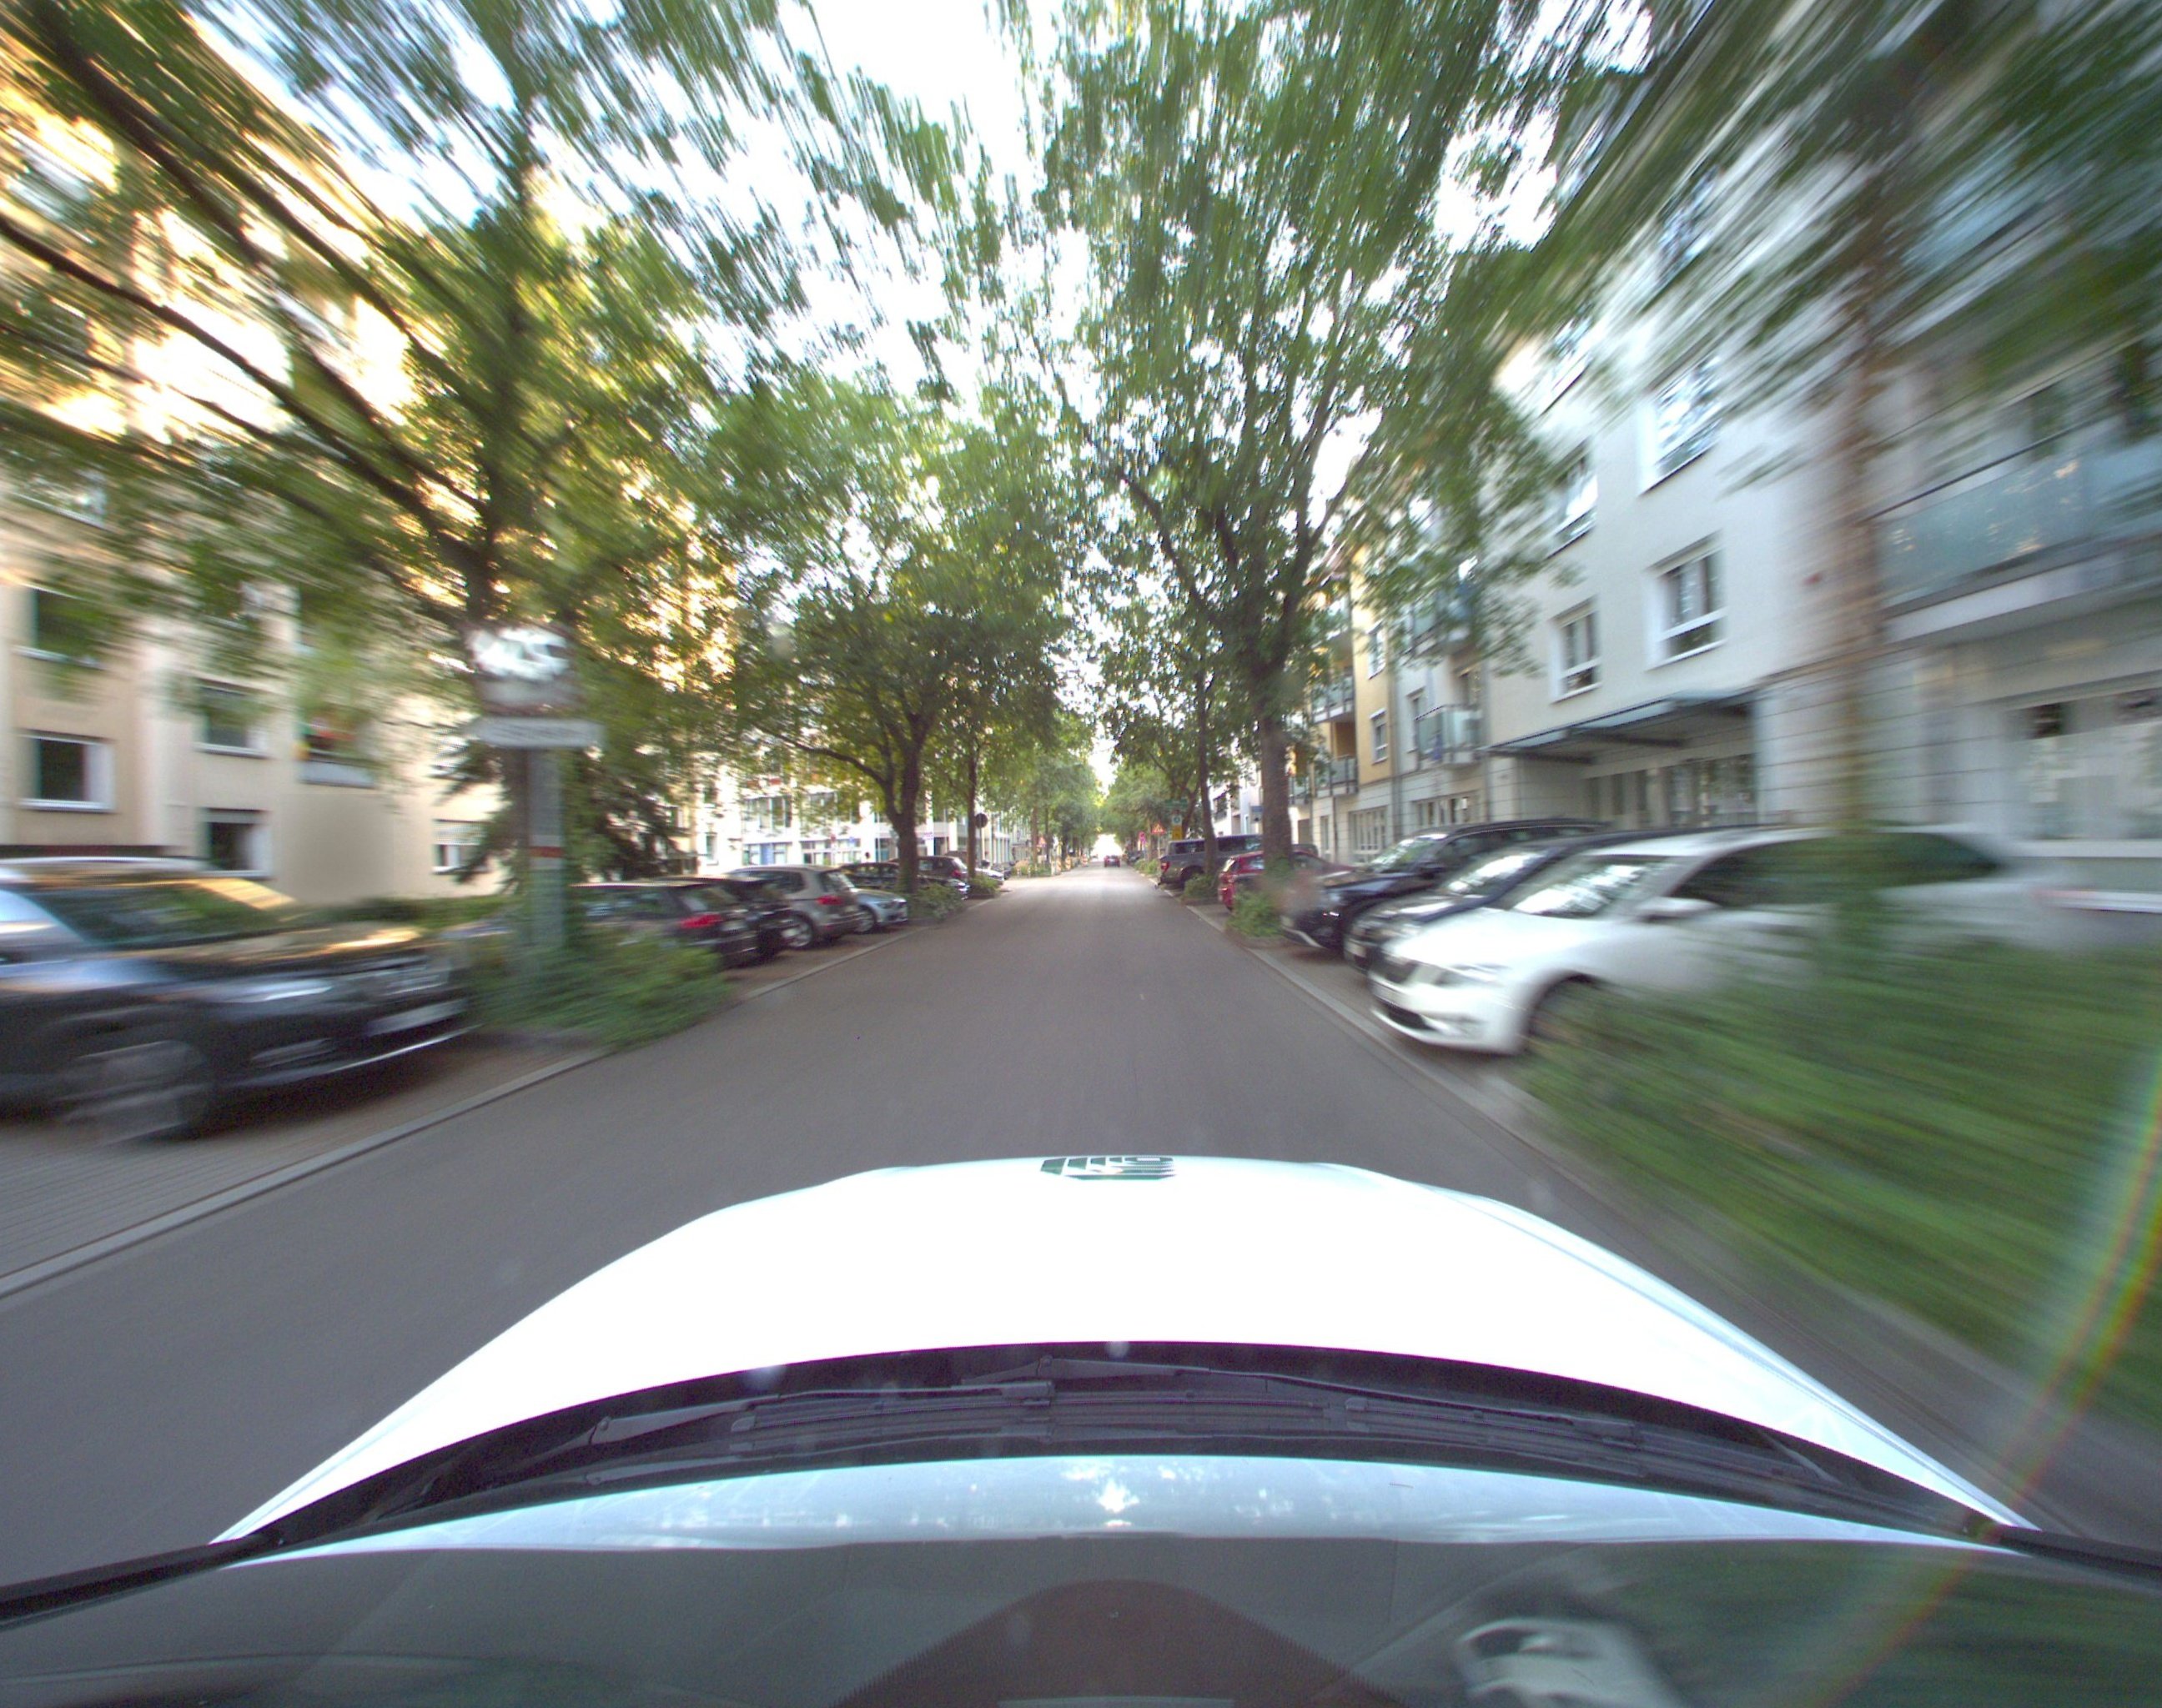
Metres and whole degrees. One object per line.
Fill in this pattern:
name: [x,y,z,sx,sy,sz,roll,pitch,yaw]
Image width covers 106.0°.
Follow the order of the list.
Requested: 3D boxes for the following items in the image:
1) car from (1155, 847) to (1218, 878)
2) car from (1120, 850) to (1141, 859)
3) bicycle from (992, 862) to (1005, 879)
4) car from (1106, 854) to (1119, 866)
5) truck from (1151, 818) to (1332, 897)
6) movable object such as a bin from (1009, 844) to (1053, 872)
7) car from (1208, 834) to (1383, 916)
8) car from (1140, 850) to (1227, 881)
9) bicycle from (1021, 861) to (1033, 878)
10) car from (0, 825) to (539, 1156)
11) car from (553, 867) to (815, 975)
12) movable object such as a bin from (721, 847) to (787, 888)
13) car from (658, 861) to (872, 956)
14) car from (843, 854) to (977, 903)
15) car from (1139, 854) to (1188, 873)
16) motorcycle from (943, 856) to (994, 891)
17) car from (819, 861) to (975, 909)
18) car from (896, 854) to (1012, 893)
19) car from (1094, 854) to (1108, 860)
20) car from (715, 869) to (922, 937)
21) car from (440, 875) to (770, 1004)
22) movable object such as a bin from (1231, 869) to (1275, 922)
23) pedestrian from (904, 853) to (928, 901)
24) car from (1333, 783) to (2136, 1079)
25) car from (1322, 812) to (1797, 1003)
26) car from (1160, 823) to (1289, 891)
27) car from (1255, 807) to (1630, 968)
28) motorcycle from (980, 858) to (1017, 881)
car: [5.972,0.486,46.360,3.337,1.526,1.747,-4,0,2]
car: [9.813,0.066,160.372,3.976,1.597,1.999,-2,0,-2]
bicycle: [-5.815,1.161,57.309,0.599,1.118,1.801,-2,0,2]
car: [3.629,0.680,94.107,1.494,1.416,3.715,-2,0,2]
truck: [5.678,0.125,29.492,5.982,2.133,2.262,-6,0,1]
movable object such as a bin: [-4.427,0.376,72.220,3.653,2.333,2.583,-2,0,0]
car: [5.123,0.501,19.798,3.653,1.548,1.780,-6,-2,-1]
car: [5.494,0.612,43.881,4.280,1.508,1.865,-2,0,-11]
bicycle: [-3.766,1.109,57.169,0.599,1.118,1.801,-2,0,2]
car: [-6.744,0.829,5.780,4.402,1.892,2.000,-1,0,1]
car: [-6.348,1.034,13.297,3.394,1.506,1.664,-2,0,-1]
movable object such as a bin: [-22.264,0.943,55.481,4.059,2.634,1.813,-2,0,26]
car: [-6.021,1.008,15.796,3.394,1.609,1.760,-2,0,-1]
car: [-6.071,0.844,29.371,4.382,1.684,2.064,0,0,-1]
car: [7.692,0.852,76.063,4.417,1.591,1.630,-2,0,3]
motorcycle: [-5.207,0.901,37.881,2.208,1.494,0.692,-2,0,3]
car: [-6.047,1.013,27.192,4.701,1.424,2.071,-1,0,-1]
car: [-5.282,0.822,34.236,4.480,1.581,2.056,0,-1,2]
car: [6.013,0.896,245.972,3.982,1.914,1.773,-2,0,-6]
car: [-5.848,1.080,18.467,4.087,1.379,1.746,-1,0,-1]
car: [-6.187,1.078,10.865,3.394,1.442,1.594,-2,0,-1]
movable object such as a bin: [3.632,0.863,17.227,0.772,1.068,0.589,-2,0,1]
pedestrian: [-6.268,0.881,30.921,0.702,1.788,0.523,-2,0,-38]
car: [4.505,0.501,6.172,4.556,1.552,1.773,-5,0,1]
car: [4.863,0.527,8.759,3.970,1.525,1.728,-5,0,3]
car: [5.555,0.109,31.973,4.603,2.133,2.037,-6,0,1]
car: [4.933,0.422,11.471,4.379,1.703,1.891,-5,0,-7]
motorcycle: [-5.447,1.009,53.907,2.391,1.440,0.792,-2,0,-38]
